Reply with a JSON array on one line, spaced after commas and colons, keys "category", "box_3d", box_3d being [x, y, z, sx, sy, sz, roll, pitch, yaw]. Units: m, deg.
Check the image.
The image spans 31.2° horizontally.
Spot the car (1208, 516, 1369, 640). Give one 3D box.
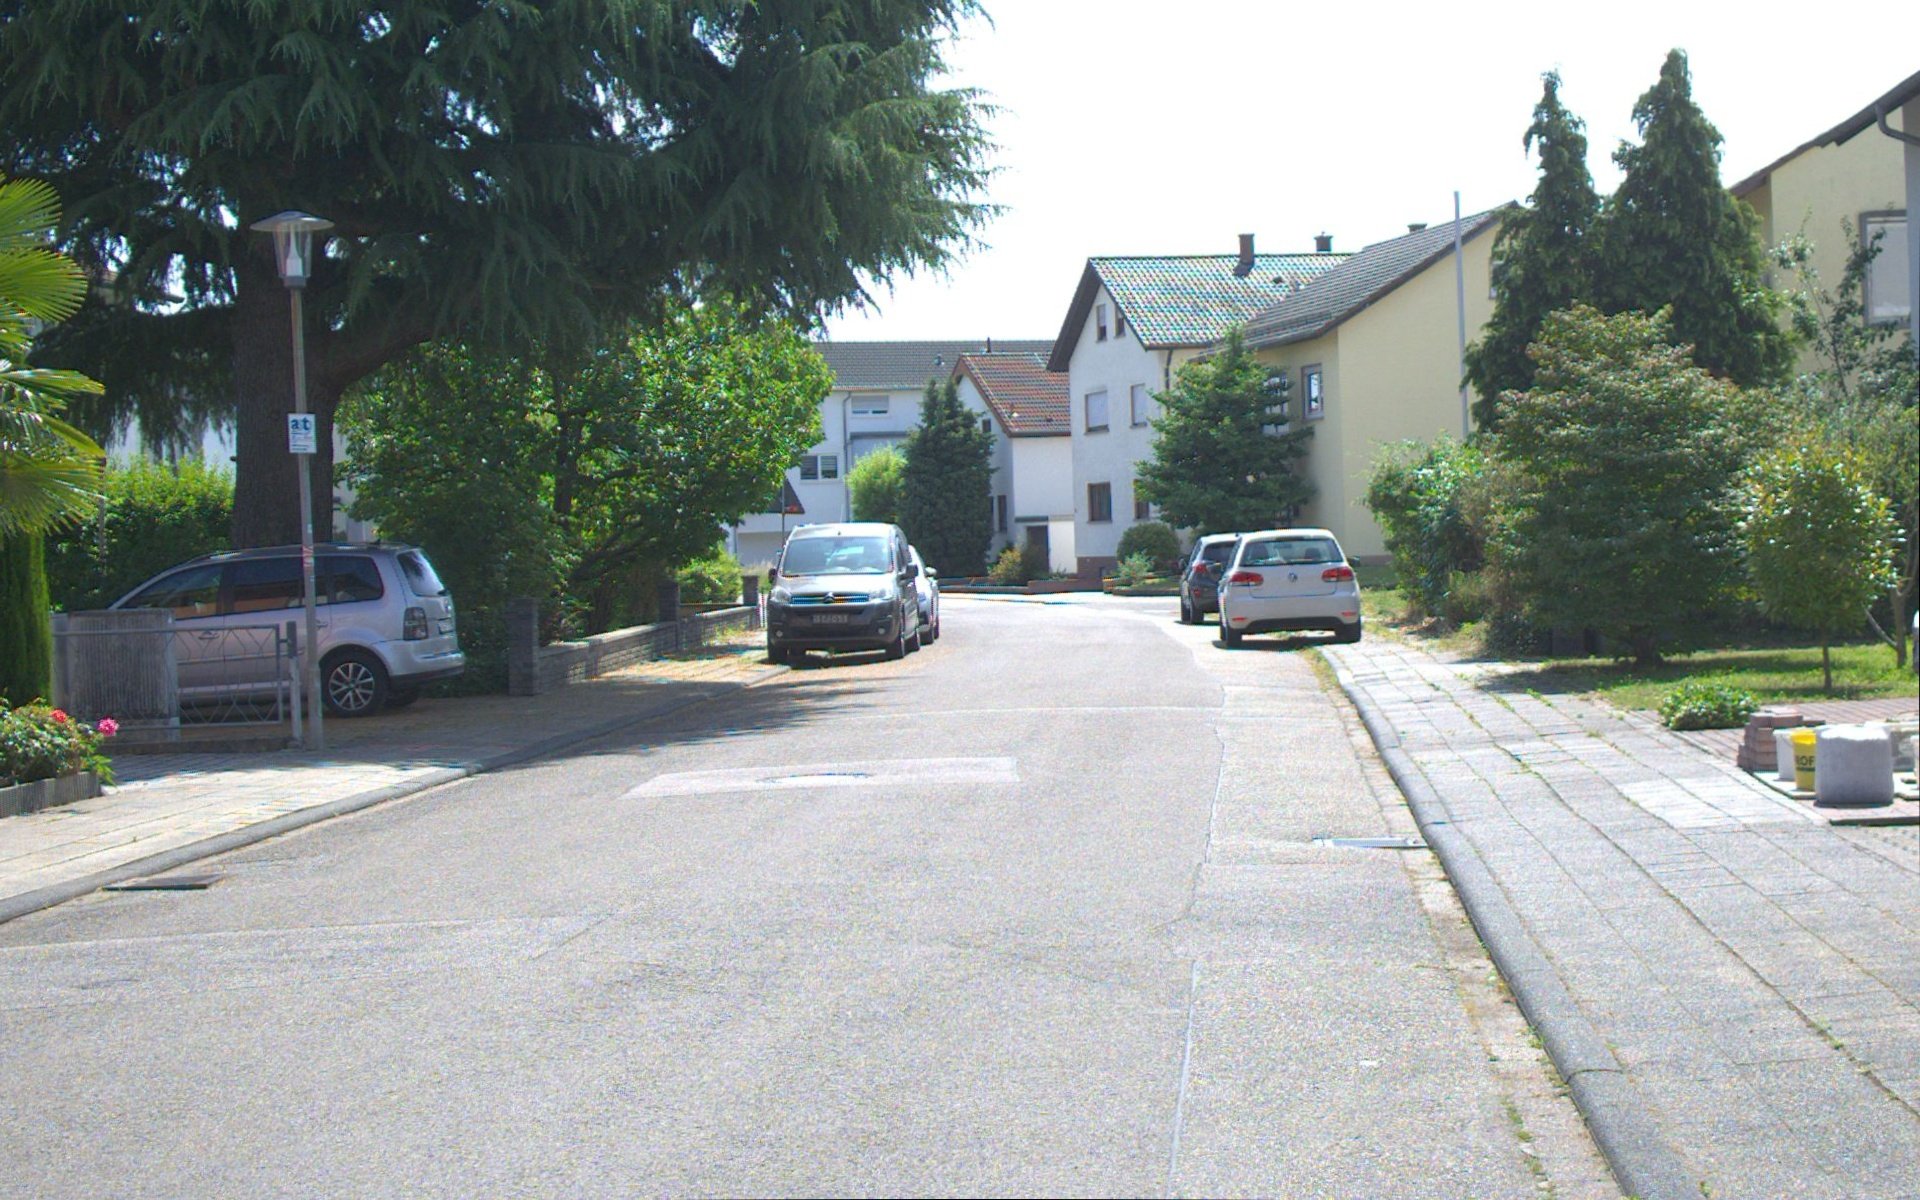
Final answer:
[{"category": "car", "box_3d": [4.268, -0.321, 45.195, 1.808, 1.490, 4.000, -2, 1, 2]}]

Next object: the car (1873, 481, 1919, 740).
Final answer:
[{"category": "car", "box_3d": [7.526, -0.043, 20.125, 3.914, 1.504, 1.773, -3, 1, 6]}]

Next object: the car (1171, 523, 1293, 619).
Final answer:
[{"category": "car", "box_3d": [4.549, -0.516, 57.948, 1.808, 1.490, 4.000, -2, 1, 2]}]

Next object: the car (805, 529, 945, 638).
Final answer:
[{"category": "car", "box_3d": [-1.230, -0.272, 51.369, 1.808, 1.490, 4.000, -2, 1, 2]}]

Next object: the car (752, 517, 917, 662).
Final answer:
[{"category": "car", "box_3d": [-1.596, -0.179, 45.184, 1.808, 1.757, 4.206, -2, 1, 2]}]

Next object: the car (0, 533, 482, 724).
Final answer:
[{"category": "car", "box_3d": [-6.944, 0.260, 33.337, 4.194, 1.647, 1.813, -2, 1, 7]}]
